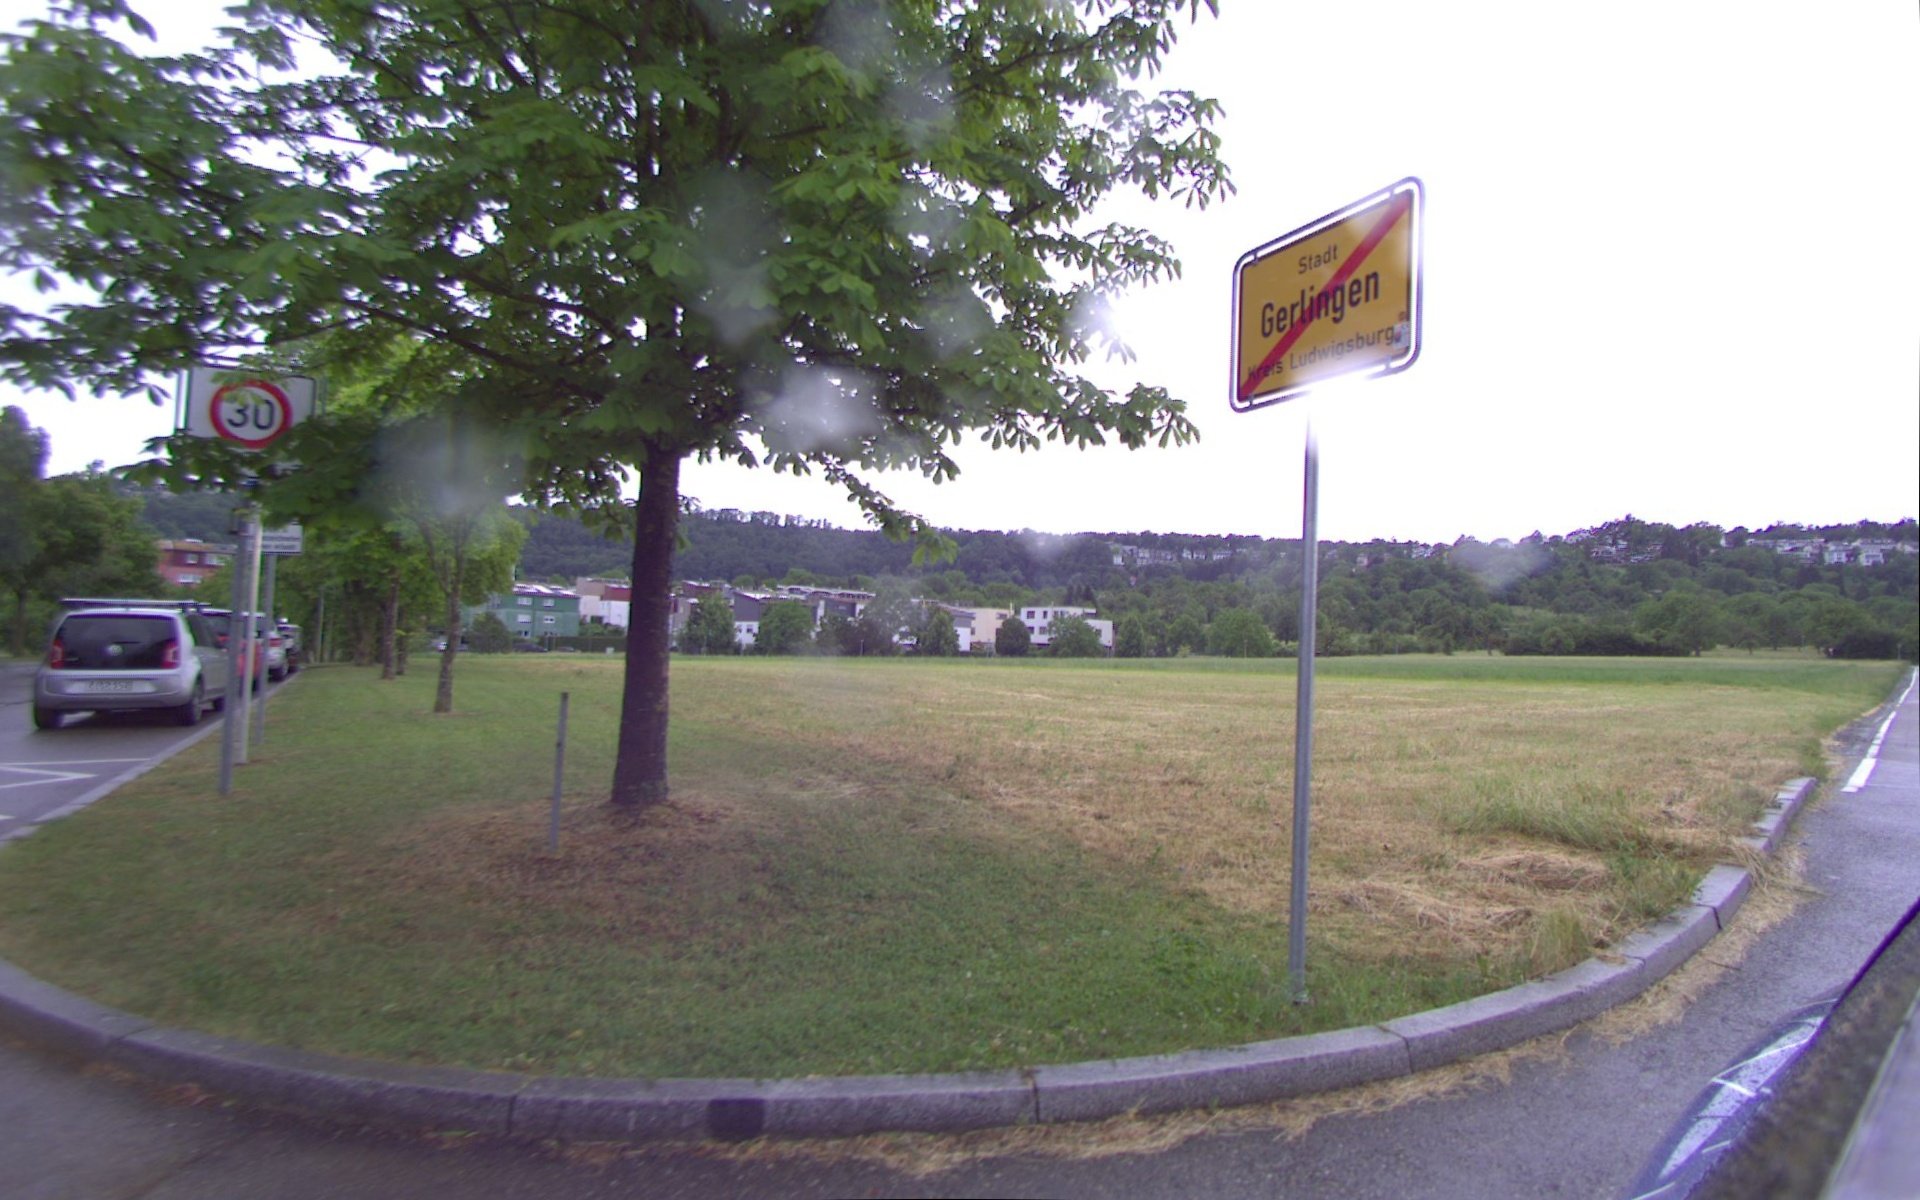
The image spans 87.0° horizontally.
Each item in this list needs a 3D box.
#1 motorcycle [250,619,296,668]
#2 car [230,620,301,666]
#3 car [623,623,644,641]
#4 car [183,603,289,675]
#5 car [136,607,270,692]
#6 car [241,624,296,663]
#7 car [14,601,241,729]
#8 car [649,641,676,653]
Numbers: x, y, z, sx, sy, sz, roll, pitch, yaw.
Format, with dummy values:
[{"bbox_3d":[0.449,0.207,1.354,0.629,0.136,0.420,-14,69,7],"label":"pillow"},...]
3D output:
[{"bbox_3d":[-19.281,1.222,28.443,0.952,1.319,2.265,3,-3,-33],"label":"motorcycle"},{"bbox_3d":[-21.462,1.310,31.344,1.700,1.297,3.329,2,-2,-34],"label":"car"},{"bbox_3d":[-61.514,5.945,190.806,2.101,3.266,5.084,2,-1,-38],"label":"car"},{"bbox_3d":[-17.240,0.924,24.251,1.816,1.572,3.990,2,-3,-33],"label":"car"},{"bbox_3d":[-14.070,0.890,18.955,1.522,1.455,3.015,2,-2,-28],"label":"car"},{"bbox_3d":[-31.289,2.009,45.772,1.924,1.629,3.997,3,-5,-35],"label":"car"},{"bbox_3d":[-11.139,0.778,13.813,1.645,1.498,3.559,1,-1,-27],"label":"car"},{"bbox_3d":[-52.498,8.270,178.565,3.929,2.040,1.997,3,-2,-41],"label":"car"}]
